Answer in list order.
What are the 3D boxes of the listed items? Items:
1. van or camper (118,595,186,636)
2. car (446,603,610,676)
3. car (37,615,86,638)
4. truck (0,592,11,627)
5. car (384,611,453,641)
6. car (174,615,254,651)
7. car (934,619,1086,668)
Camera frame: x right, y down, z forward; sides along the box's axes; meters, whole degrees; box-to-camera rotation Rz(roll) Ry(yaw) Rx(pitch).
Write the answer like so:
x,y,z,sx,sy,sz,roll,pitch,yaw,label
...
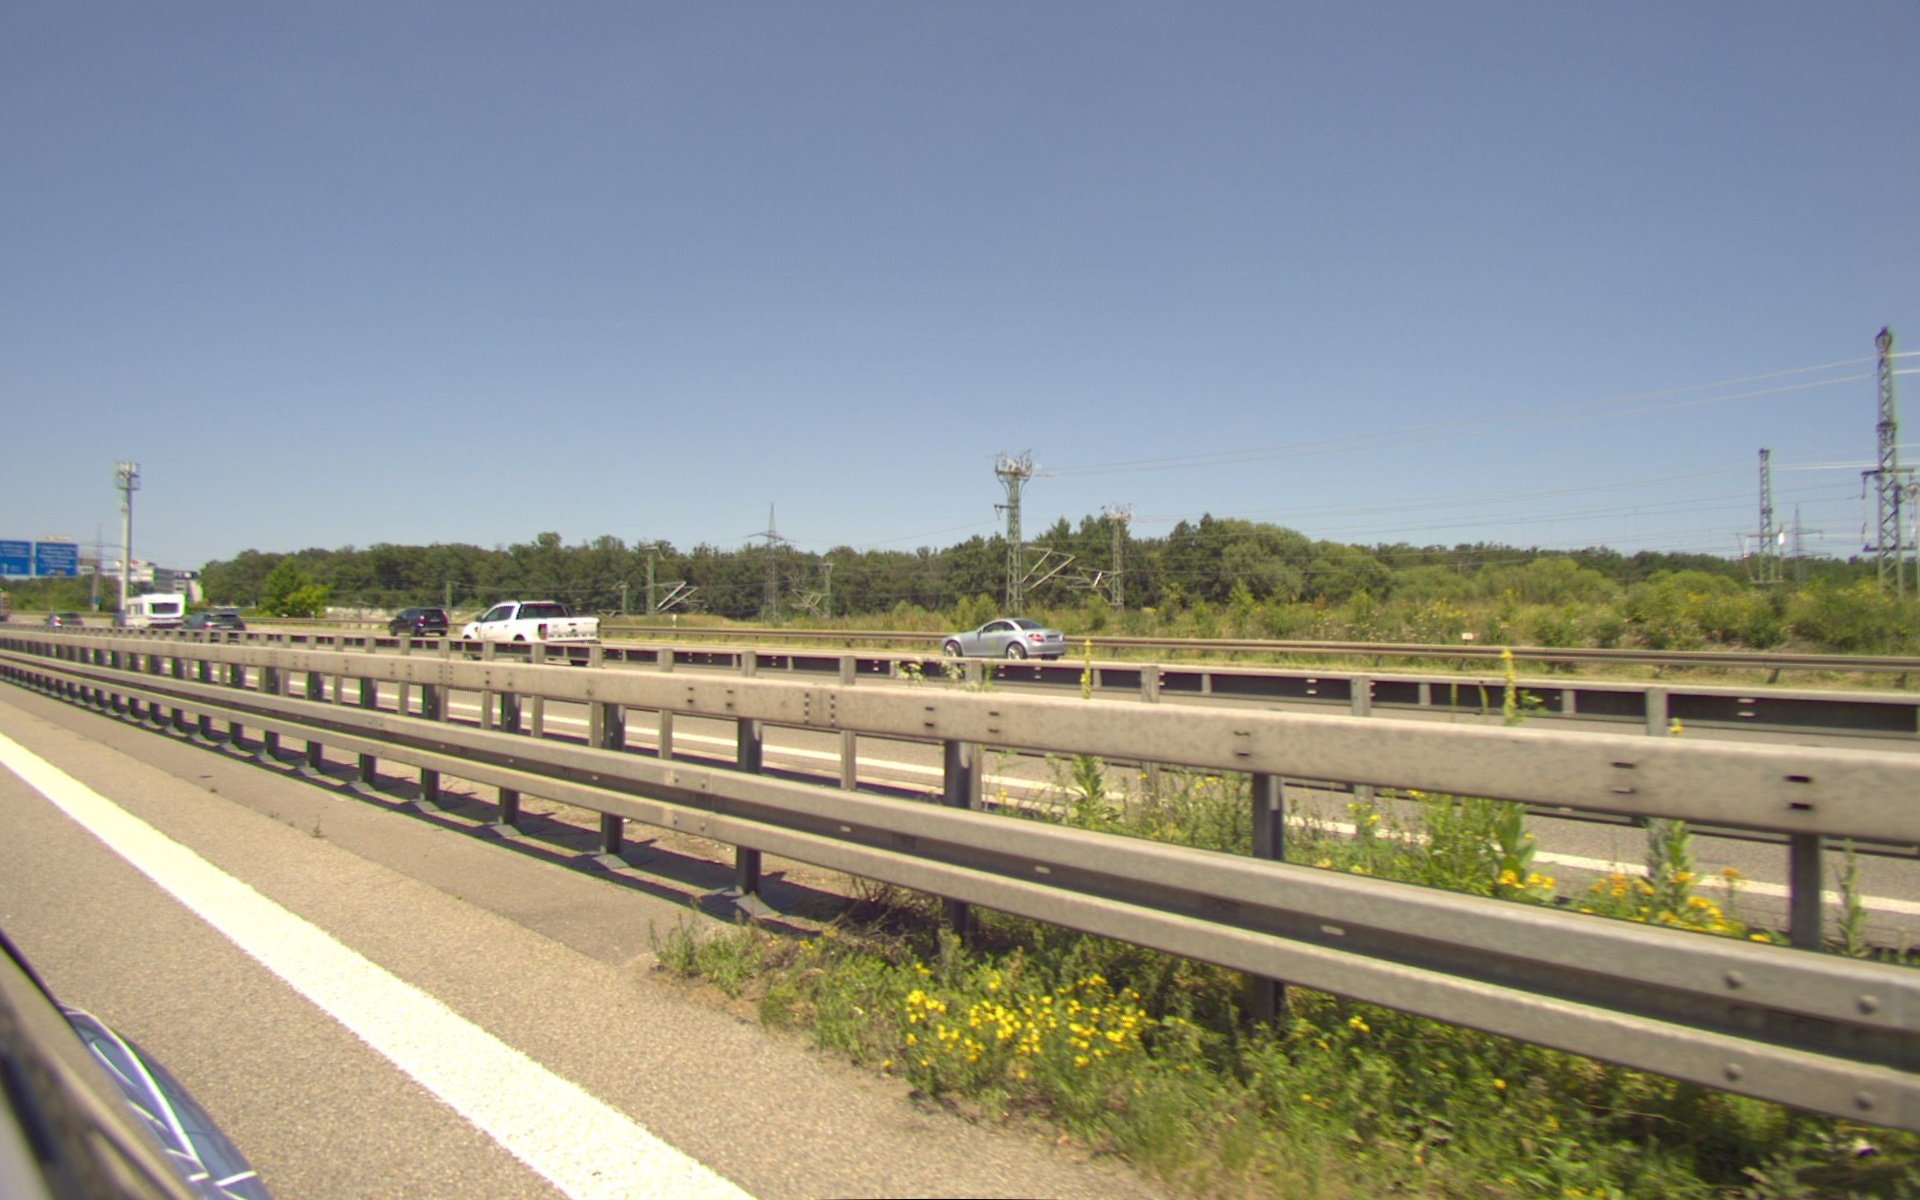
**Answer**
x,y,z,sx,sy,sz,roll,pitch,yaw,label
-56.417,1.081,70.581,7.600,2.677,2.313,-1,-1,41,van or camper
-12.150,1.036,28.277,5.596,1.844,1.973,-1,-1,41,car
-63.833,1.868,71.898,4.886,1.520,1.973,0,1,41,car
-112.120,1.124,116.326,12.238,4.013,3.350,-1,-1,42,truck
-31.141,1.465,58.134,4.933,1.609,1.972,-1,-1,42,car
-34.550,1.490,46.831,4.547,1.586,1.973,-1,-1,40,car
1.429,1.242,29.827,4.161,1.321,1.973,-1,-1,41,car
